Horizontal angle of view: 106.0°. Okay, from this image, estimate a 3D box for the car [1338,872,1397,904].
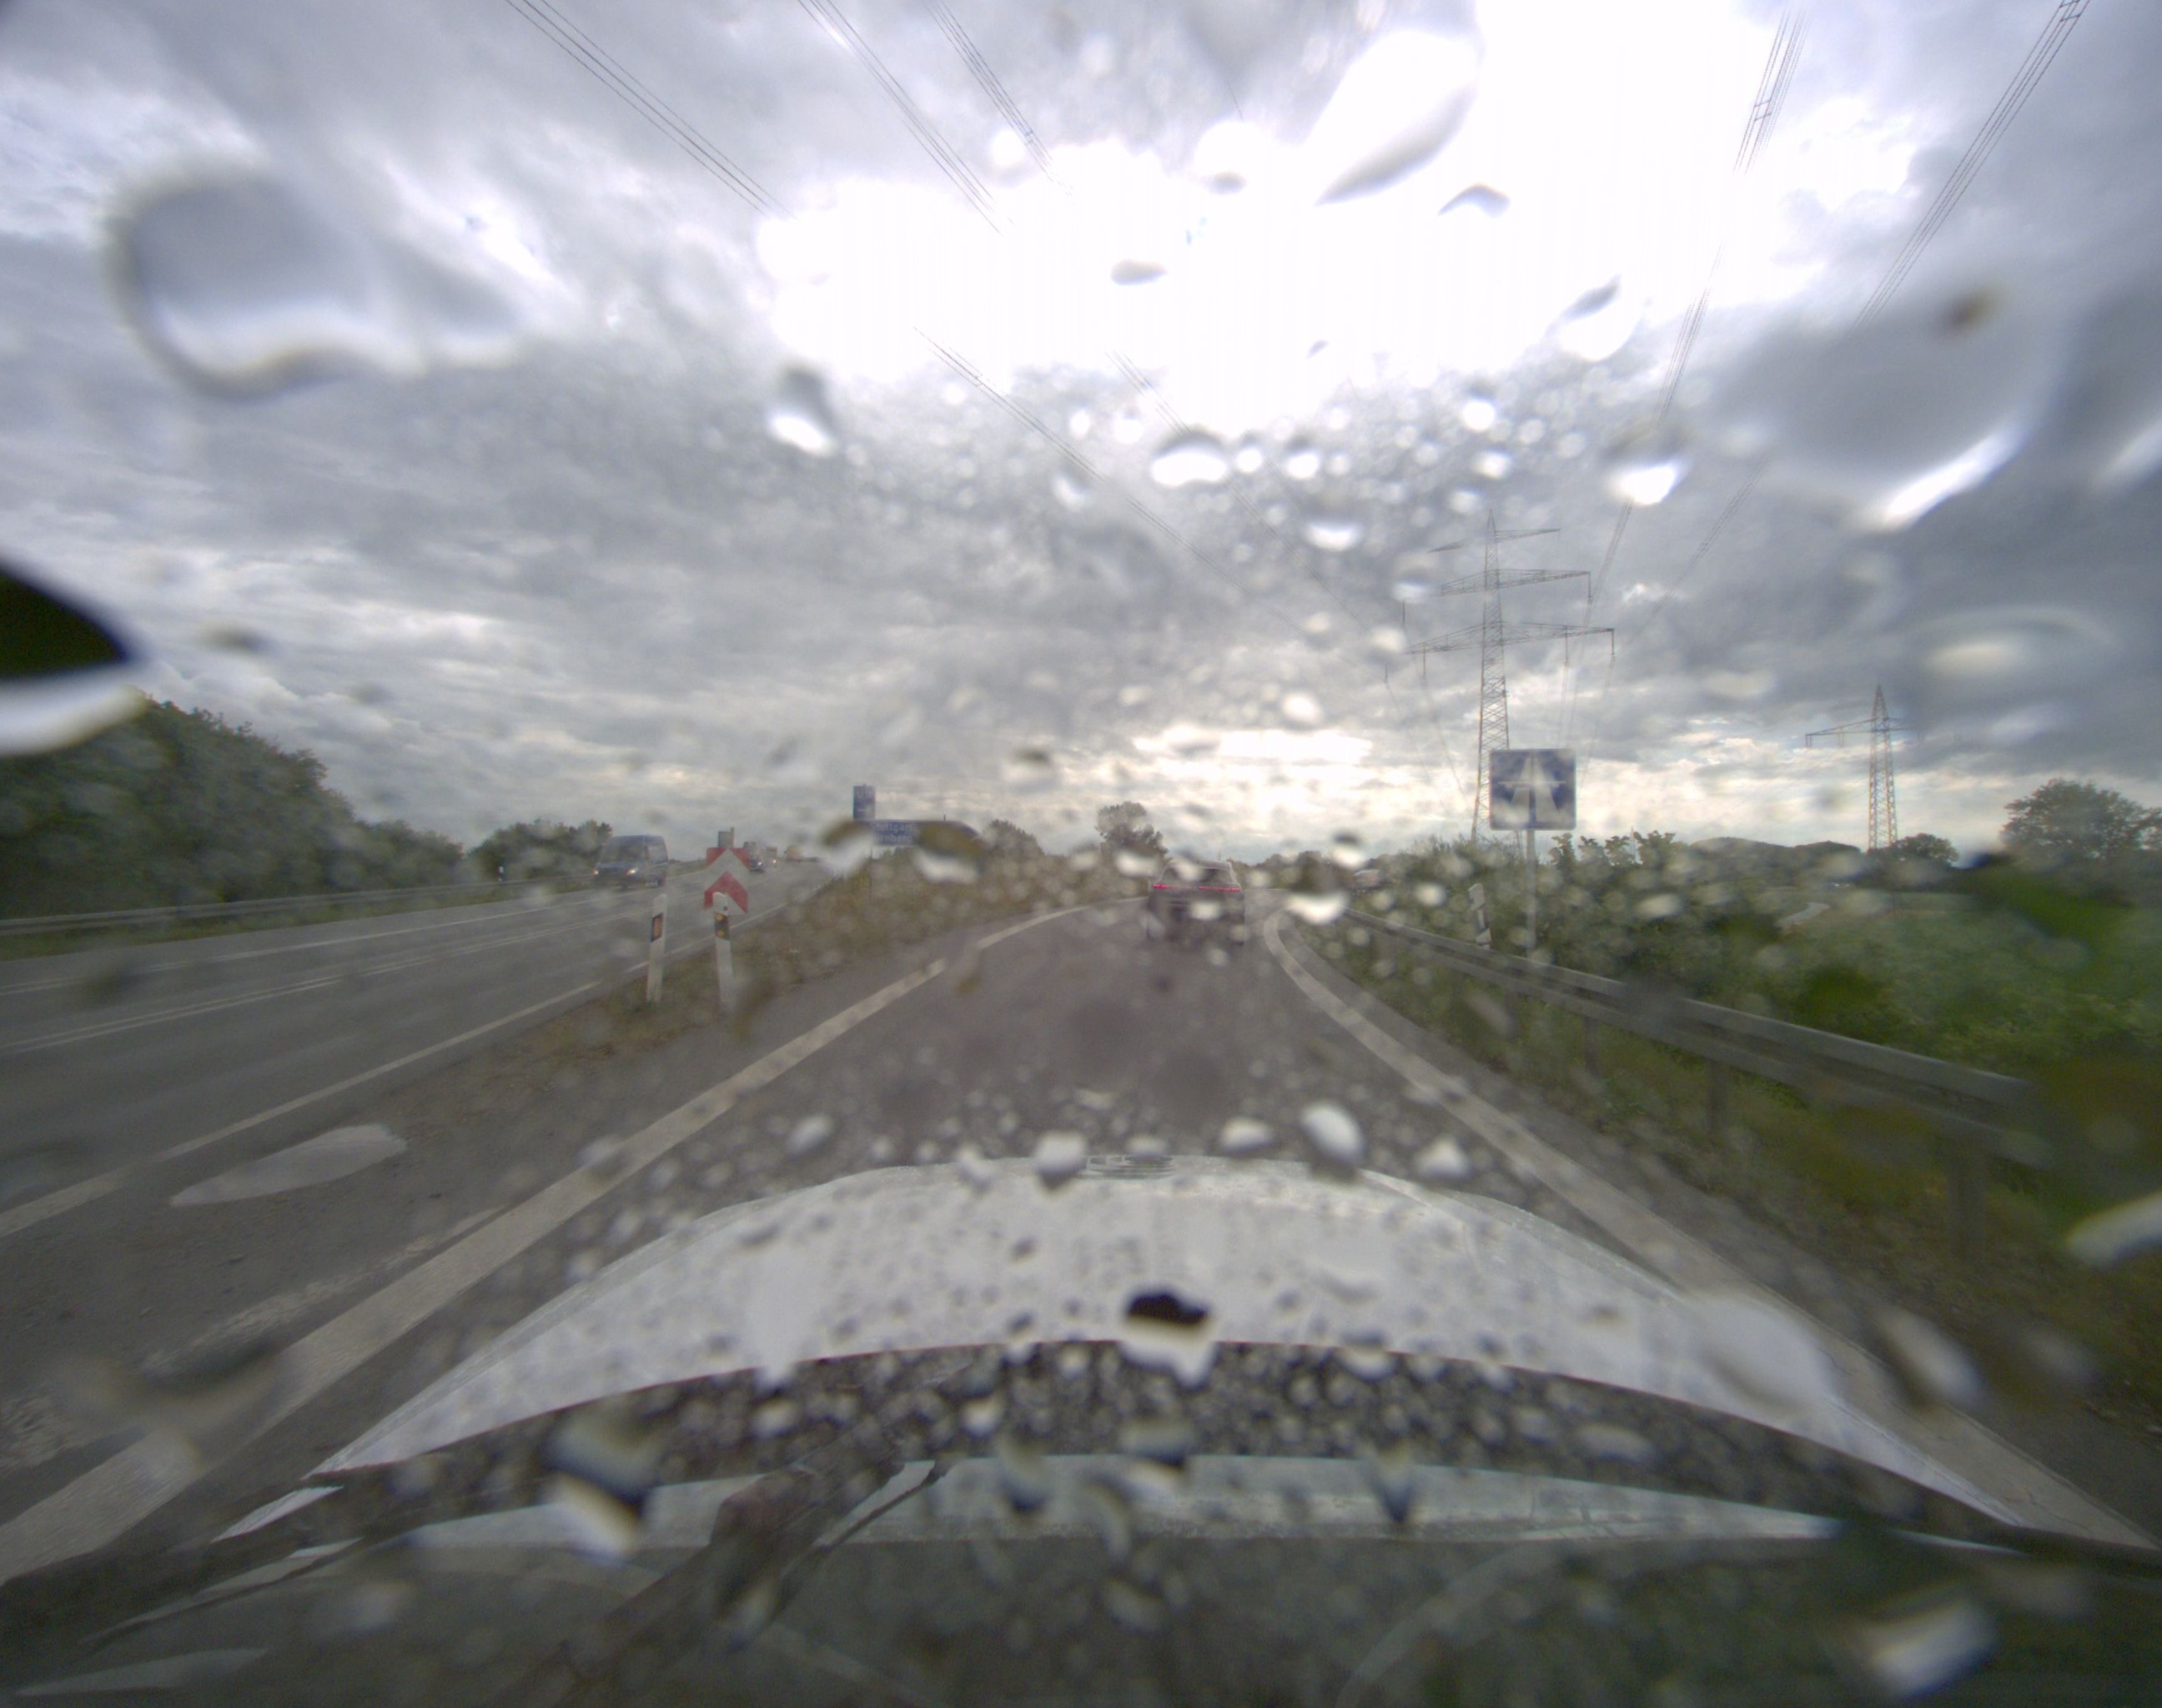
[{"bbox_3d":[19.145,2.237,54.241,2.100,2.018,5.568,-1,-3,38],"label":"car"}]

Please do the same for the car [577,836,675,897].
[{"bbox_3d":[-22.095,0.602,39.890,2.327,2.726,6.258,0,-1,-11],"label":"car"}]

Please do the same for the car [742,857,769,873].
[{"bbox_3d":[-25.059,0.814,62.747,1.432,1.176,3.120,2,0,-13],"label":"car"}]

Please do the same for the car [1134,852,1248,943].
[{"bbox_3d":[2.260,0.760,16.537,1.982,1.566,4.159,1,0,9],"label":"car"}]

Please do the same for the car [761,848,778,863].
[{"bbox_3d":[-29.212,0.145,76.373,1.480,1.350,3.689,2,0,-21],"label":"car"}]
